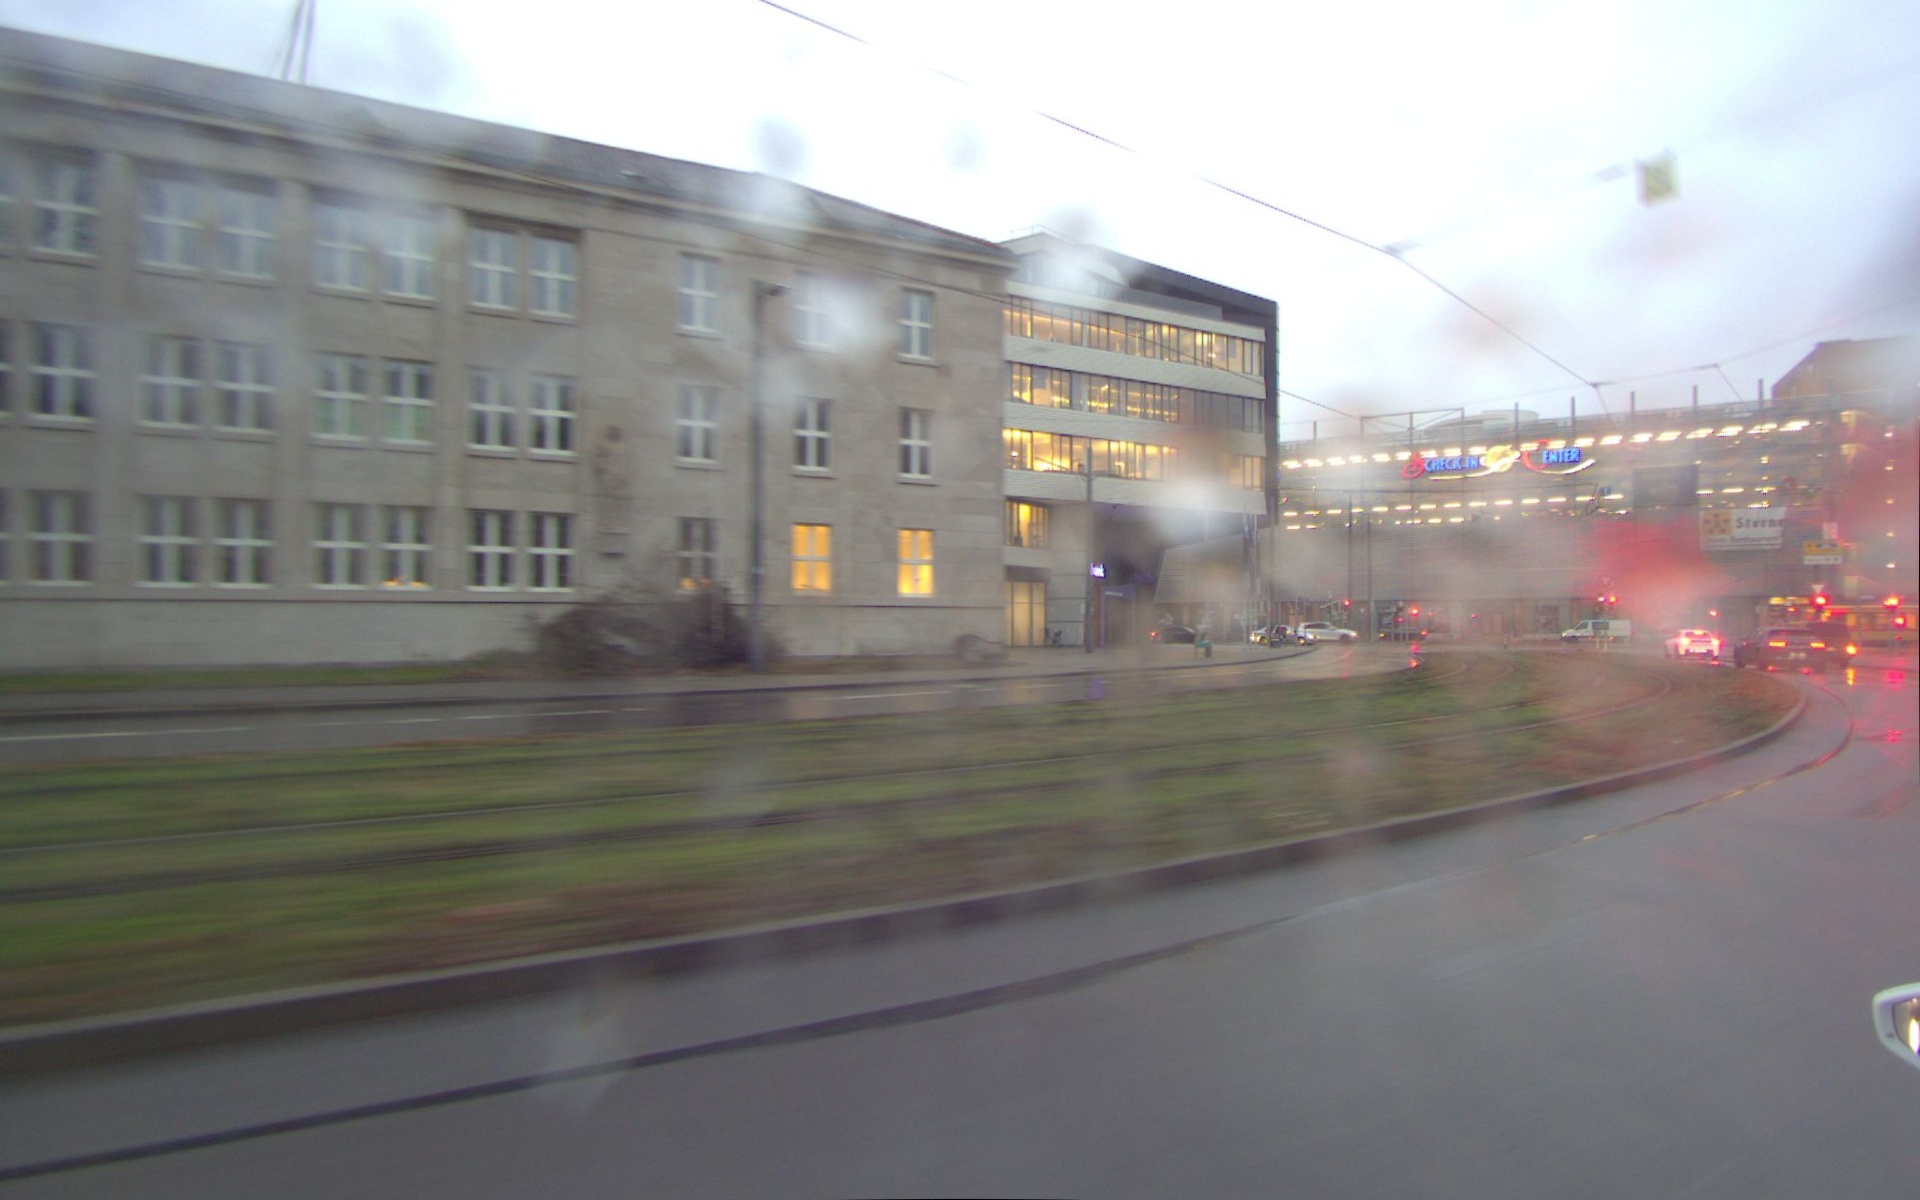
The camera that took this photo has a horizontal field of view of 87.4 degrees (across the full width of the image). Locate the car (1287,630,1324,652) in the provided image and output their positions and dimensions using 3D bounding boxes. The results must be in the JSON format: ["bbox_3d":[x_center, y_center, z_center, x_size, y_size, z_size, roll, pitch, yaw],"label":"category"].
[{"bbox_3d":[24.992,2.918,72.521,1.793,1.454,4.649,2,0,28],"label":"car"}]

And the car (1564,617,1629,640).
[{"bbox_3d":[60.684,2.729,95.860,5.002,1.988,1.888,2,0,29],"label":"car"}]

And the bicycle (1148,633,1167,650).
[{"bbox_3d":[13.230,2.784,67.211,0.547,1.104,1.605,-1,-2,37],"label":"bicycle"}]

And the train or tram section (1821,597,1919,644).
[{"bbox_3d":[70.531,1.439,70.119,16.324,3.303,2.338,-1,-2,15],"label":"train or tram section"}]

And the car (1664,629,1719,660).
[{"bbox_3d":[37.009,2.214,50.907,1.858,1.505,3.992,-1,-2,31],"label":"car"}]

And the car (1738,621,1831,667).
[{"bbox_3d":[30.259,1.597,36.984,1.726,1.594,3.996,-1,-2,26],"label":"car"}]

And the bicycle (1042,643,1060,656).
[{"bbox_3d":[5.139,2.795,56.666,0.905,0.724,0.478,1,-2,-40],"label":"bicycle"}]

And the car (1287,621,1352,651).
[{"bbox_3d":[27.032,2.684,75.476,4.290,2.040,1.997,2,0,29],"label":"car"}]

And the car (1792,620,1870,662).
[{"bbox_3d":[37.838,1.775,43.725,1.610,1.719,3.668,0,-2,26],"label":"car"}]
